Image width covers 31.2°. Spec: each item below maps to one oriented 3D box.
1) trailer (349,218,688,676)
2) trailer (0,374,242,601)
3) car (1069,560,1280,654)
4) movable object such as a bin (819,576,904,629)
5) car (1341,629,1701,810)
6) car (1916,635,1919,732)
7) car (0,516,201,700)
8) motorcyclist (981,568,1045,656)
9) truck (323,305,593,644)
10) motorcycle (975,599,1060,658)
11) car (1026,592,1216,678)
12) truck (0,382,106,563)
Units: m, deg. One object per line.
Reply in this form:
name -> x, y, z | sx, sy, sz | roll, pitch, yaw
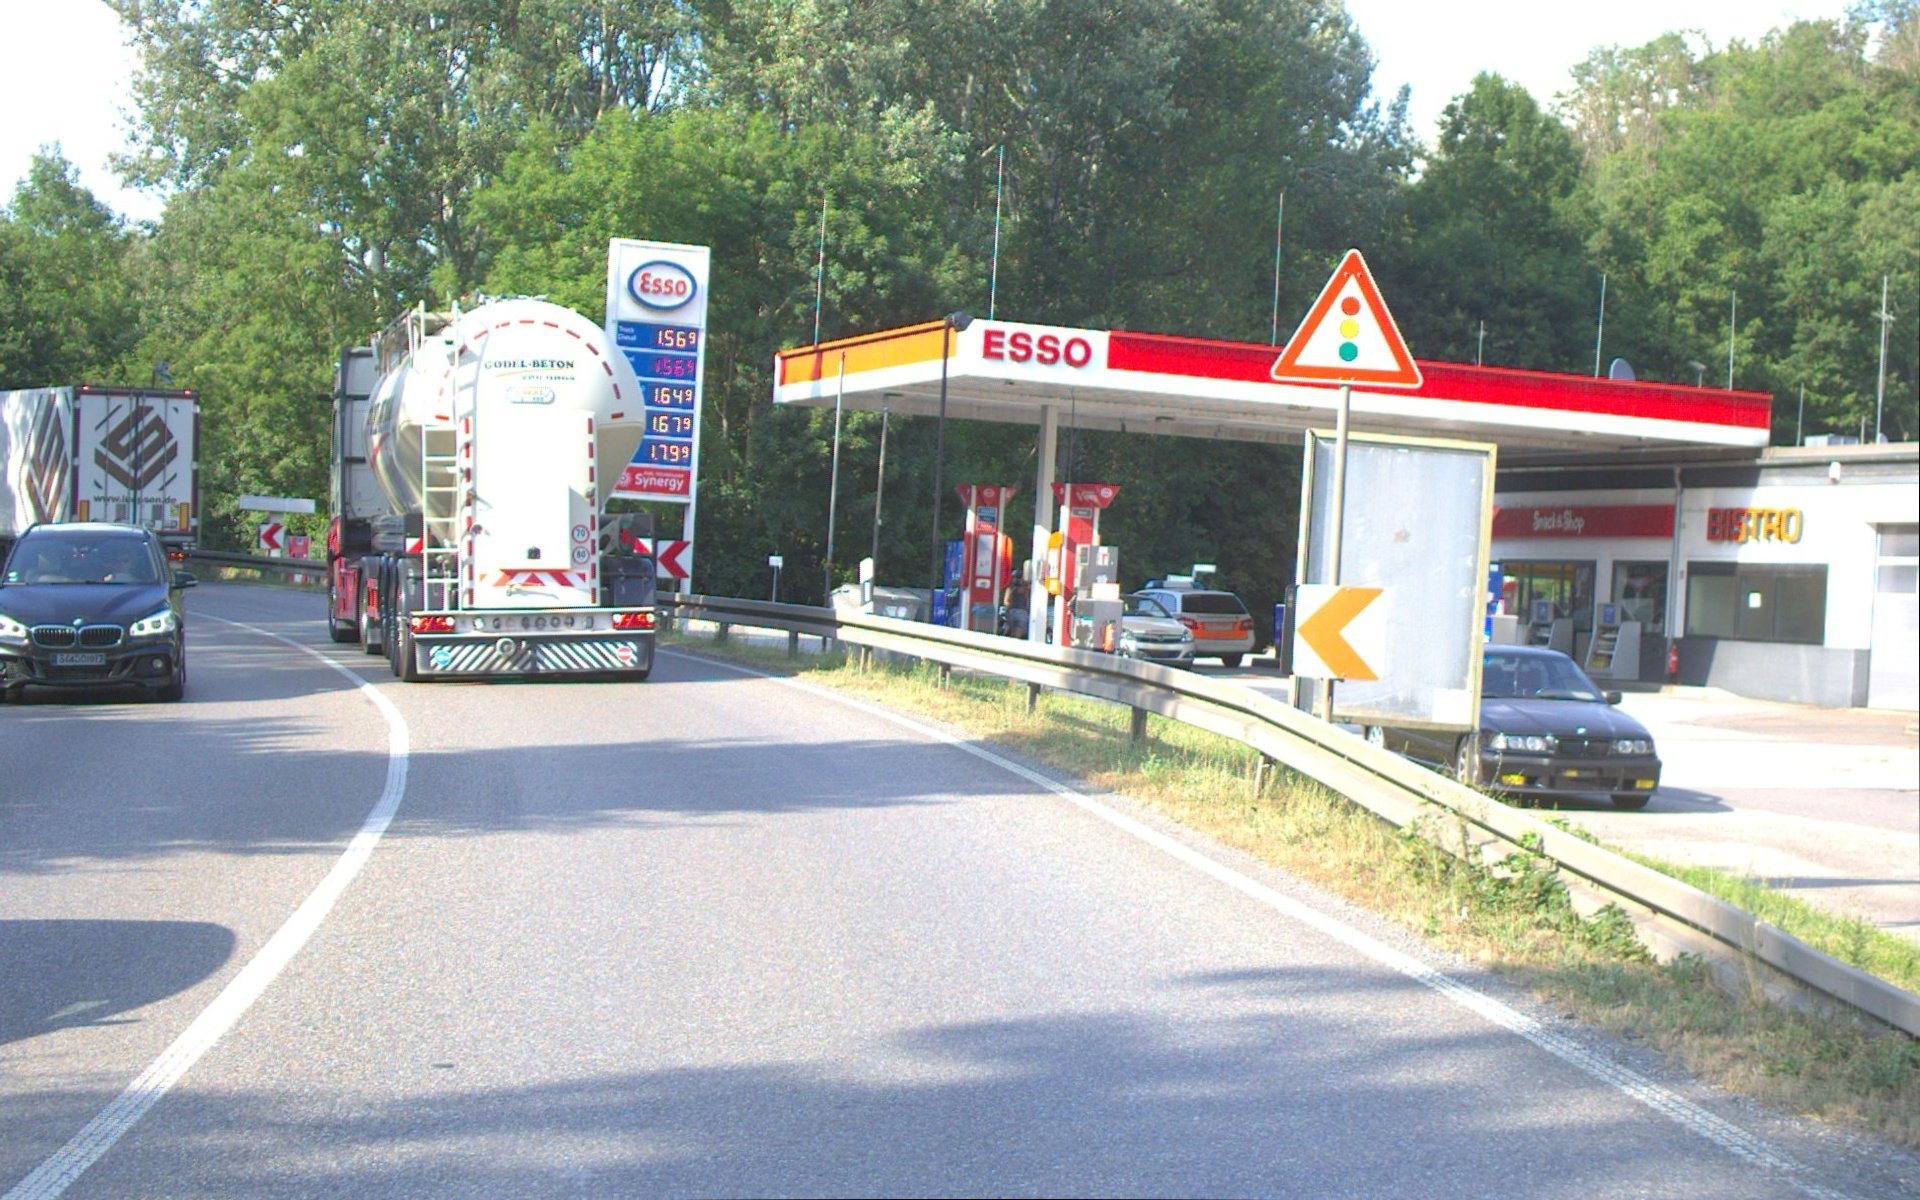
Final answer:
trailer -> -5.133, -1.578, 38.297 | 2.886, 4.439, 9.609 | 0, 1, -12
trailer -> -19.406, -2.339, 75.107 | 3.545, 4.497, 12.985 | 1, 0, -29
car -> 4.153, 0.110, 67.602 | 2.092, 1.622, 5.182 | 2, 1, -21
movable object such as a bin -> -3.000, 0.071, 104.384 | 1.266, 1.415, 2.557 | 6, -1, -34
car -> 5.034, 1.043, 31.479 | 1.823, 1.348, 4.274 | 2, 1, -11
car -> 15.423, 1.212, 47.606 | 3.956, 1.350, 1.777 | 1, 1, -24
car -> -8.077, 0.022, 31.971 | 1.867, 1.584, 4.250 | 0, 1, -11
motorcyclist -> 1.016, 0.222, 65.582 | 0.858, 1.599, 0.928 | 3, 0, -21
truck -> -6.531, -1.553, 44.044 | 2.823, 4.021, 5.896 | 0, 1, -14
motorcycle -> 1.078, 0.534, 65.356 | 0.761, 1.008, 2.342 | 3, 1, -21
car -> 2.868, 0.613, 62.285 | 1.842, 1.315, 4.391 | 2, 1, -20
truck -> -22.724, -2.947, 81.078 | 3.450, 4.072, 6.491 | 1, 0, -28
